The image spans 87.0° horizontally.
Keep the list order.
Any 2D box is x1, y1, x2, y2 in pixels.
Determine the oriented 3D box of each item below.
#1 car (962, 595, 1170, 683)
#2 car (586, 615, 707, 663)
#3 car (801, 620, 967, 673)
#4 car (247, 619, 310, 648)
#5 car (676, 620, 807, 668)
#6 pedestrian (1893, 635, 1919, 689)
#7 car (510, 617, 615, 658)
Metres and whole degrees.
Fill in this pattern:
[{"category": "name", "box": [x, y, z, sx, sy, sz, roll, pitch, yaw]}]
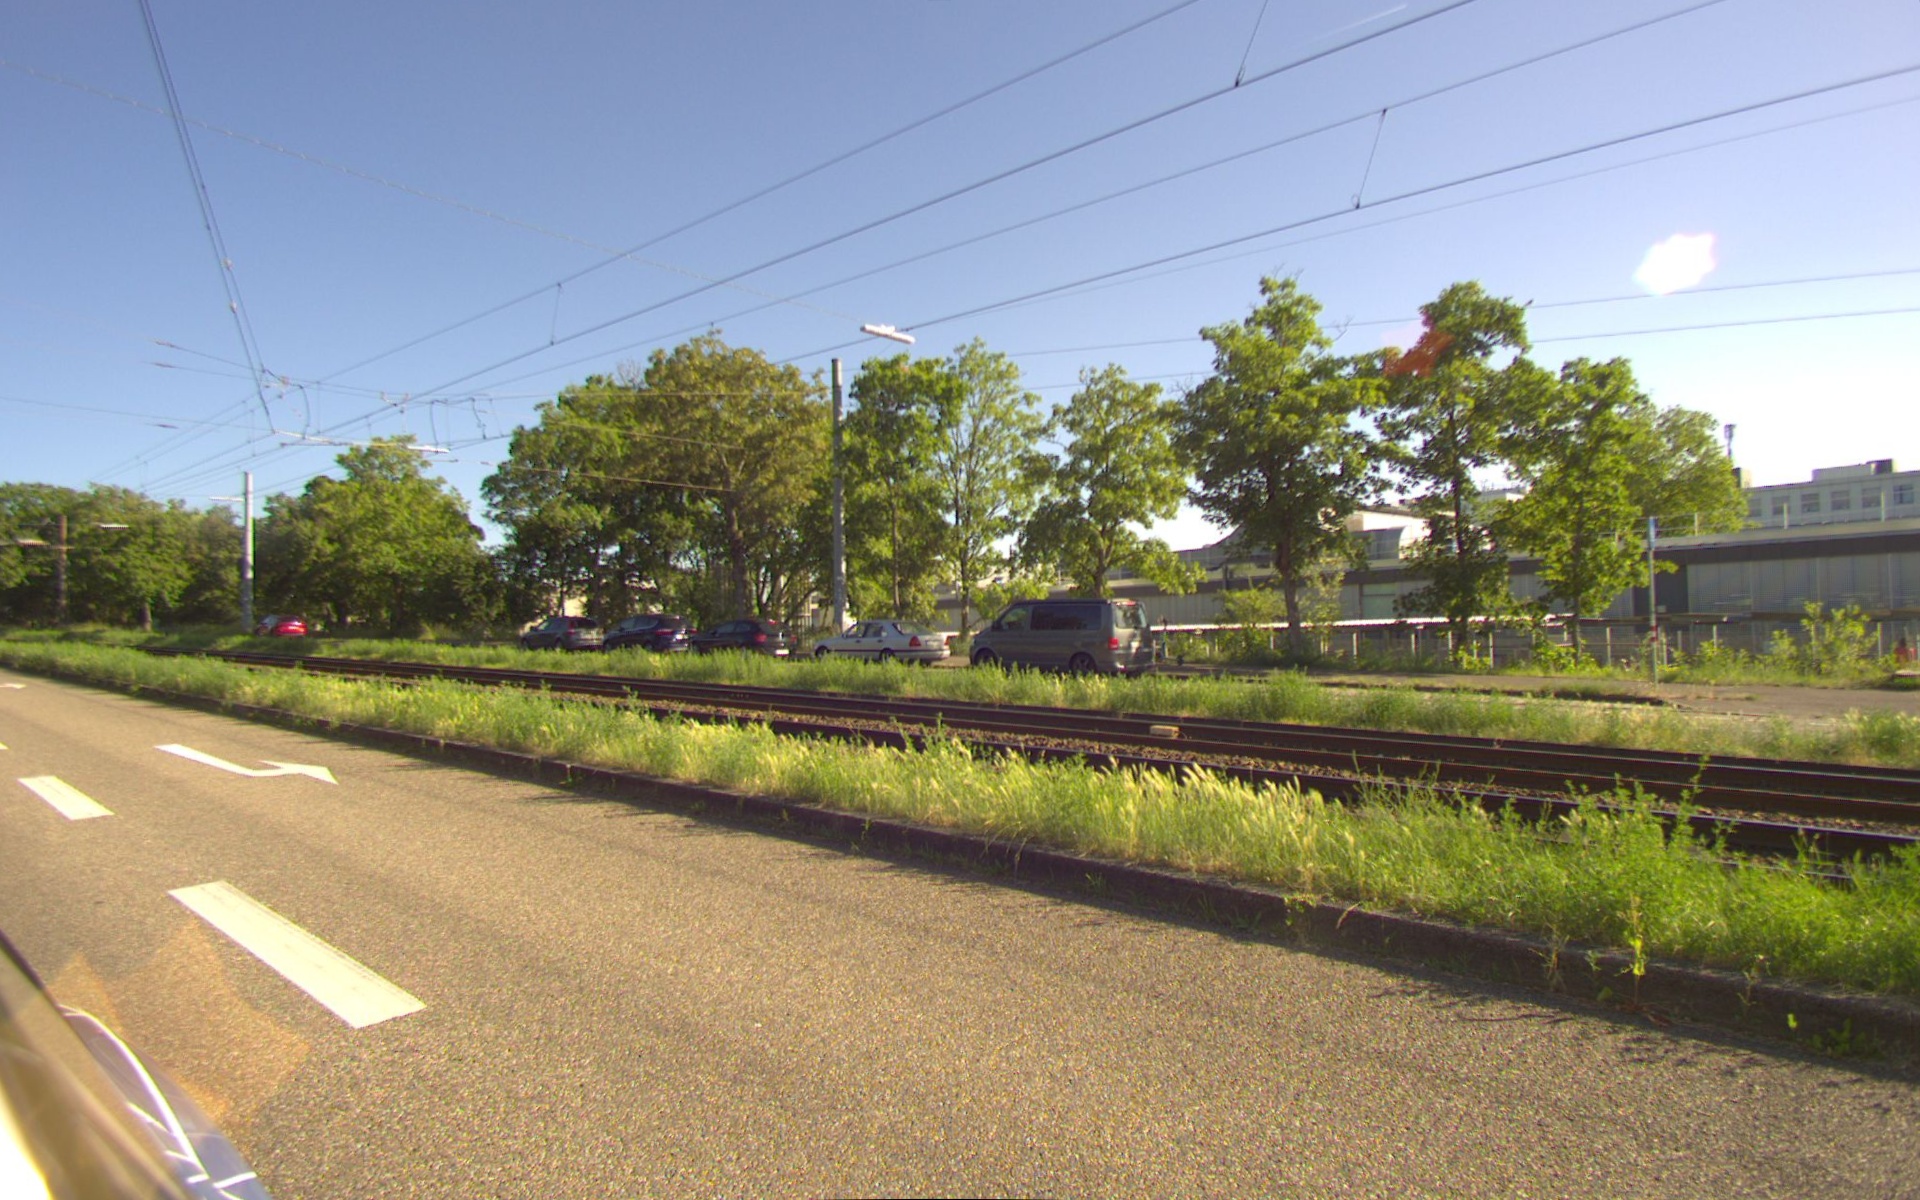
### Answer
[{"category": "car", "box": [2.508, 0.925, 24.766, 4.684, 1.949, 2.178, -2, -1, 42]}, {"category": "car", "box": [-11.432, 1.392, 36.794, 4.614, 1.599, 2.102, -2, -1, 41]}, {"category": "car", "box": [-2.260, 1.312, 29.234, 4.612, 1.391, 2.103, -2, -1, 40]}, {"category": "car", "box": [-42.455, 2.086, 62.997, 4.797, 1.746, 2.290, -2, -1, 43]}, {"category": "car", "box": [-7.237, 1.425, 33.241, 4.486, 1.437, 1.935, -2, -1, 42]}, {"category": "pedestrian", "box": [23.538, 1.535, 25.026, 0.435, 1.310, 0.441, -1, -2, -1]}, {"category": "car", "box": [-16.261, 1.523, 41.270, 4.557, 1.575, 2.103, -2, -1, 41]}]
